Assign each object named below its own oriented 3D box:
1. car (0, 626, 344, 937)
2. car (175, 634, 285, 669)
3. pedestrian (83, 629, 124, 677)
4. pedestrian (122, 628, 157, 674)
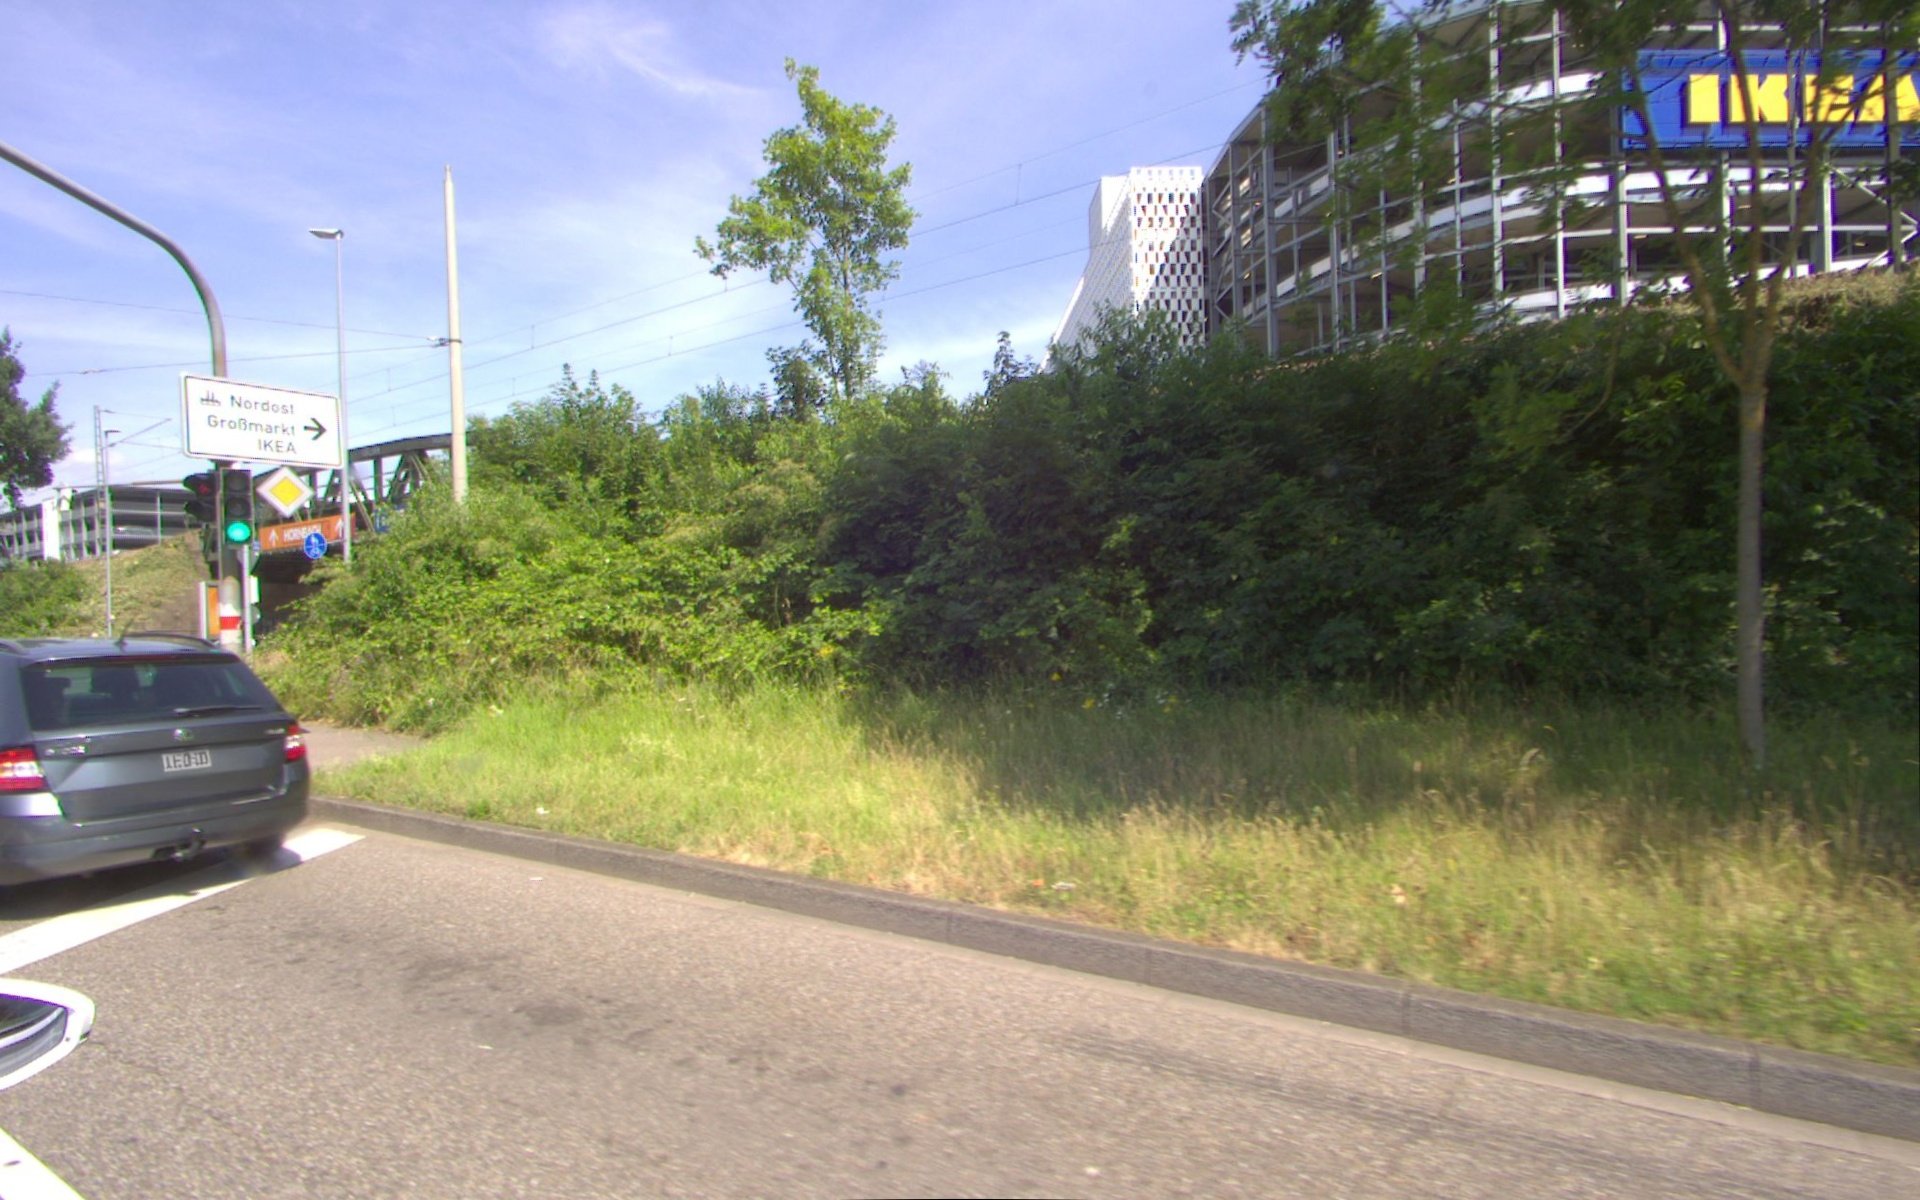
[{"bbox_3d":[-5.867,0.925,6.426,3.978,1.472,1.672,-1,-2,32],"label":"car"},{"bbox_3d":[-33.473,2.331,46.107,1.961,1.427,4.501,-1,-1,-4],"label":"car"},{"bbox_3d":[-29.460,1.812,34.446,0.766,1.633,0.866,-1,0,32],"label":"pedestrian"},{"bbox_3d":[-29.180,1.805,35.601,0.766,1.600,0.728,-1,0,32],"label":"pedestrian"}]
